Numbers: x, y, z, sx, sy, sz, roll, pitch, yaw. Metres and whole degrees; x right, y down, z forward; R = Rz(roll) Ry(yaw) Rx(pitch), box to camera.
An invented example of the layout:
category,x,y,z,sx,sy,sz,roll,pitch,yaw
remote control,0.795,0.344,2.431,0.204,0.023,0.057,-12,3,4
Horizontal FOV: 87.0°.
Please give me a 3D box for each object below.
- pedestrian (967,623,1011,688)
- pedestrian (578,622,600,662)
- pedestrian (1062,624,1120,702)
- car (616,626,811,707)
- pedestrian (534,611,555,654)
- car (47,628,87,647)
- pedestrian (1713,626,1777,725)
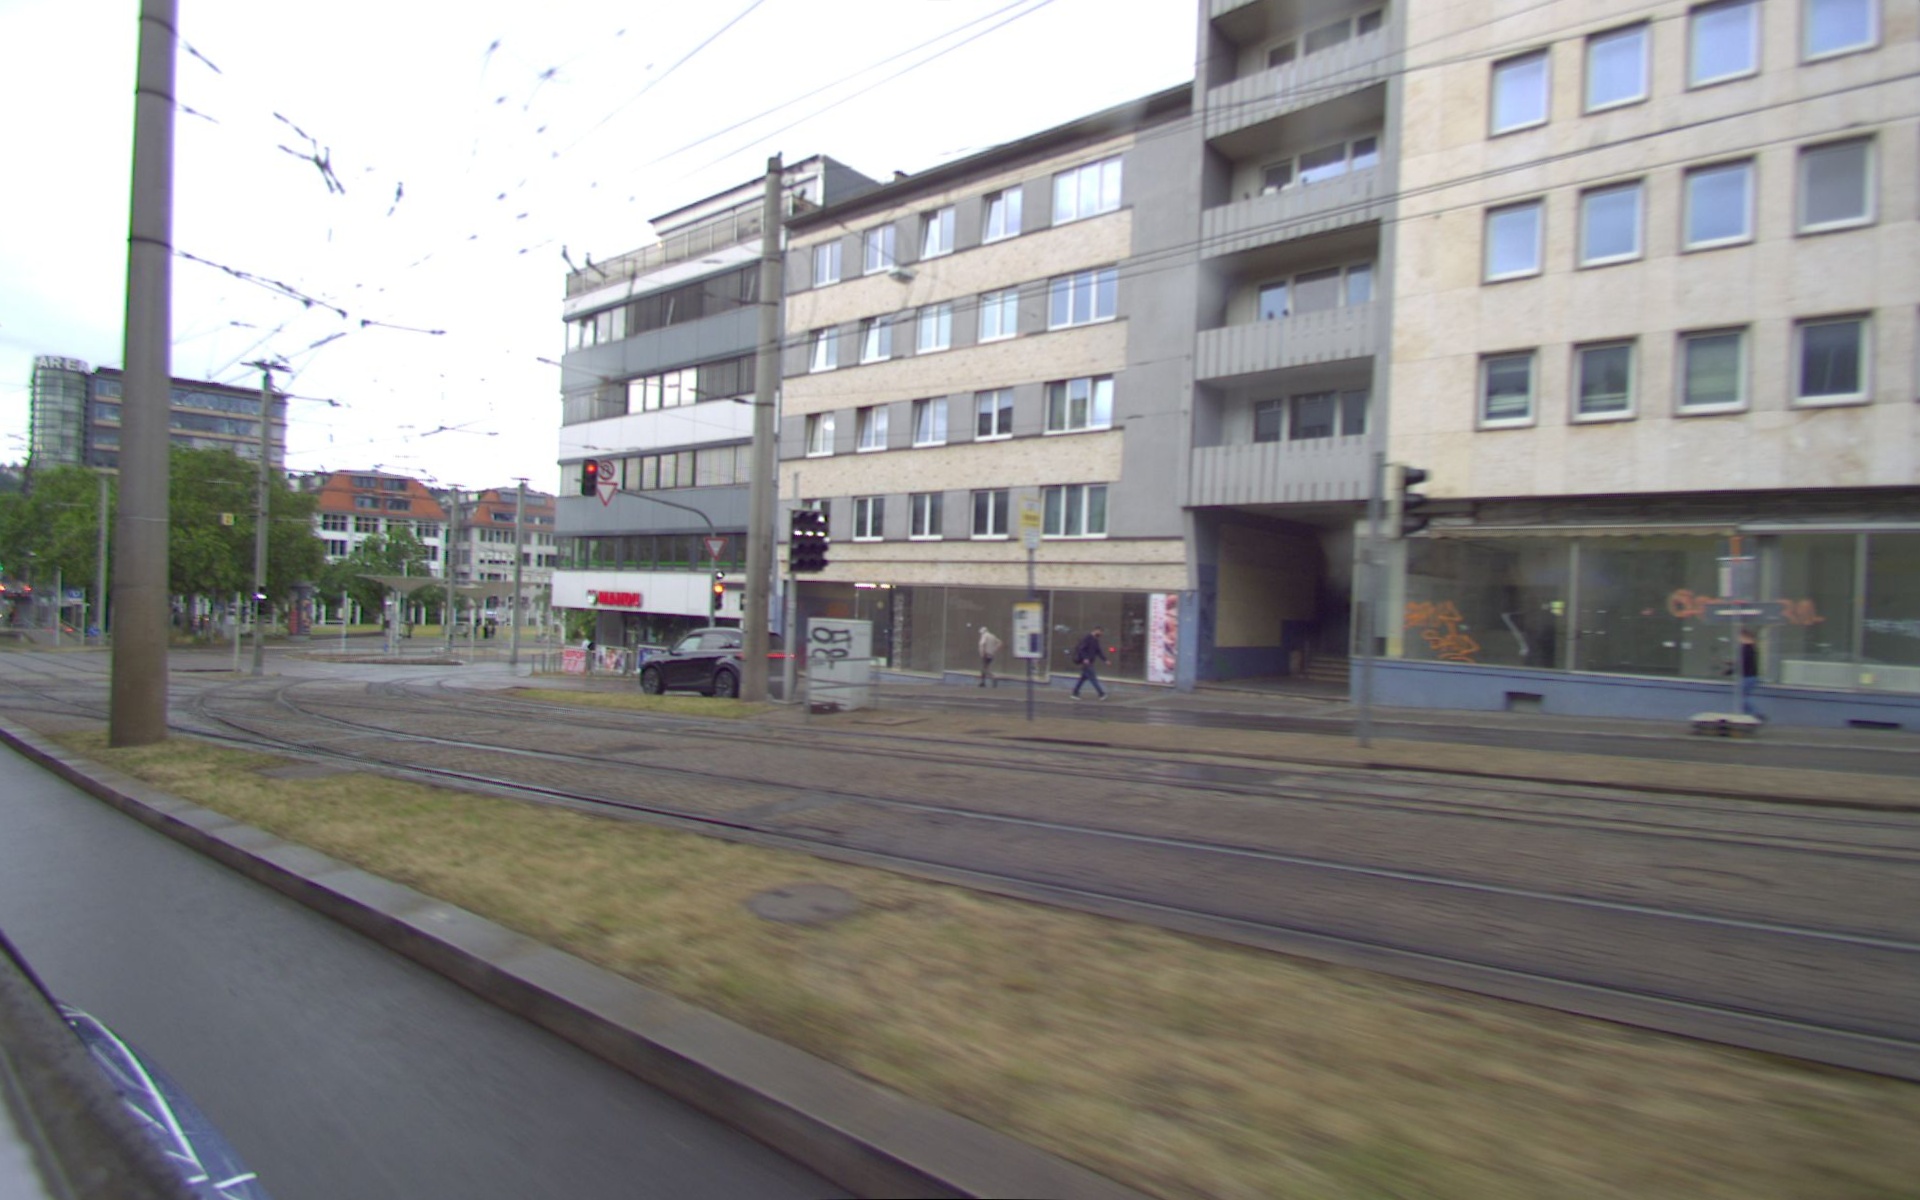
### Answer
category,x,y,z,sx,sy,sz,roll,pitch,yaw
pedestrian,0.772,1.469,27.073,0.997,1.694,0.672,-2,-3,39
pedestrian,-18.247,2.058,49.823,0.697,1.928,0.710,0,-2,40
pedestrian,2.949,1.404,22.799,0.998,1.694,0.878,-2,-3,40
car,-5.744,1.475,23.353,4.519,1.686,1.975,-2,-3,37
pedestrian,-18.978,1.477,46.258,0.687,1.928,0.720,1,-1,-8
car,-78.652,3.297,89.122,4.730,1.517,2.076,0,-2,42
pedestrian,12.751,1.202,16.443,0.775,1.560,0.670,-2,-3,39
